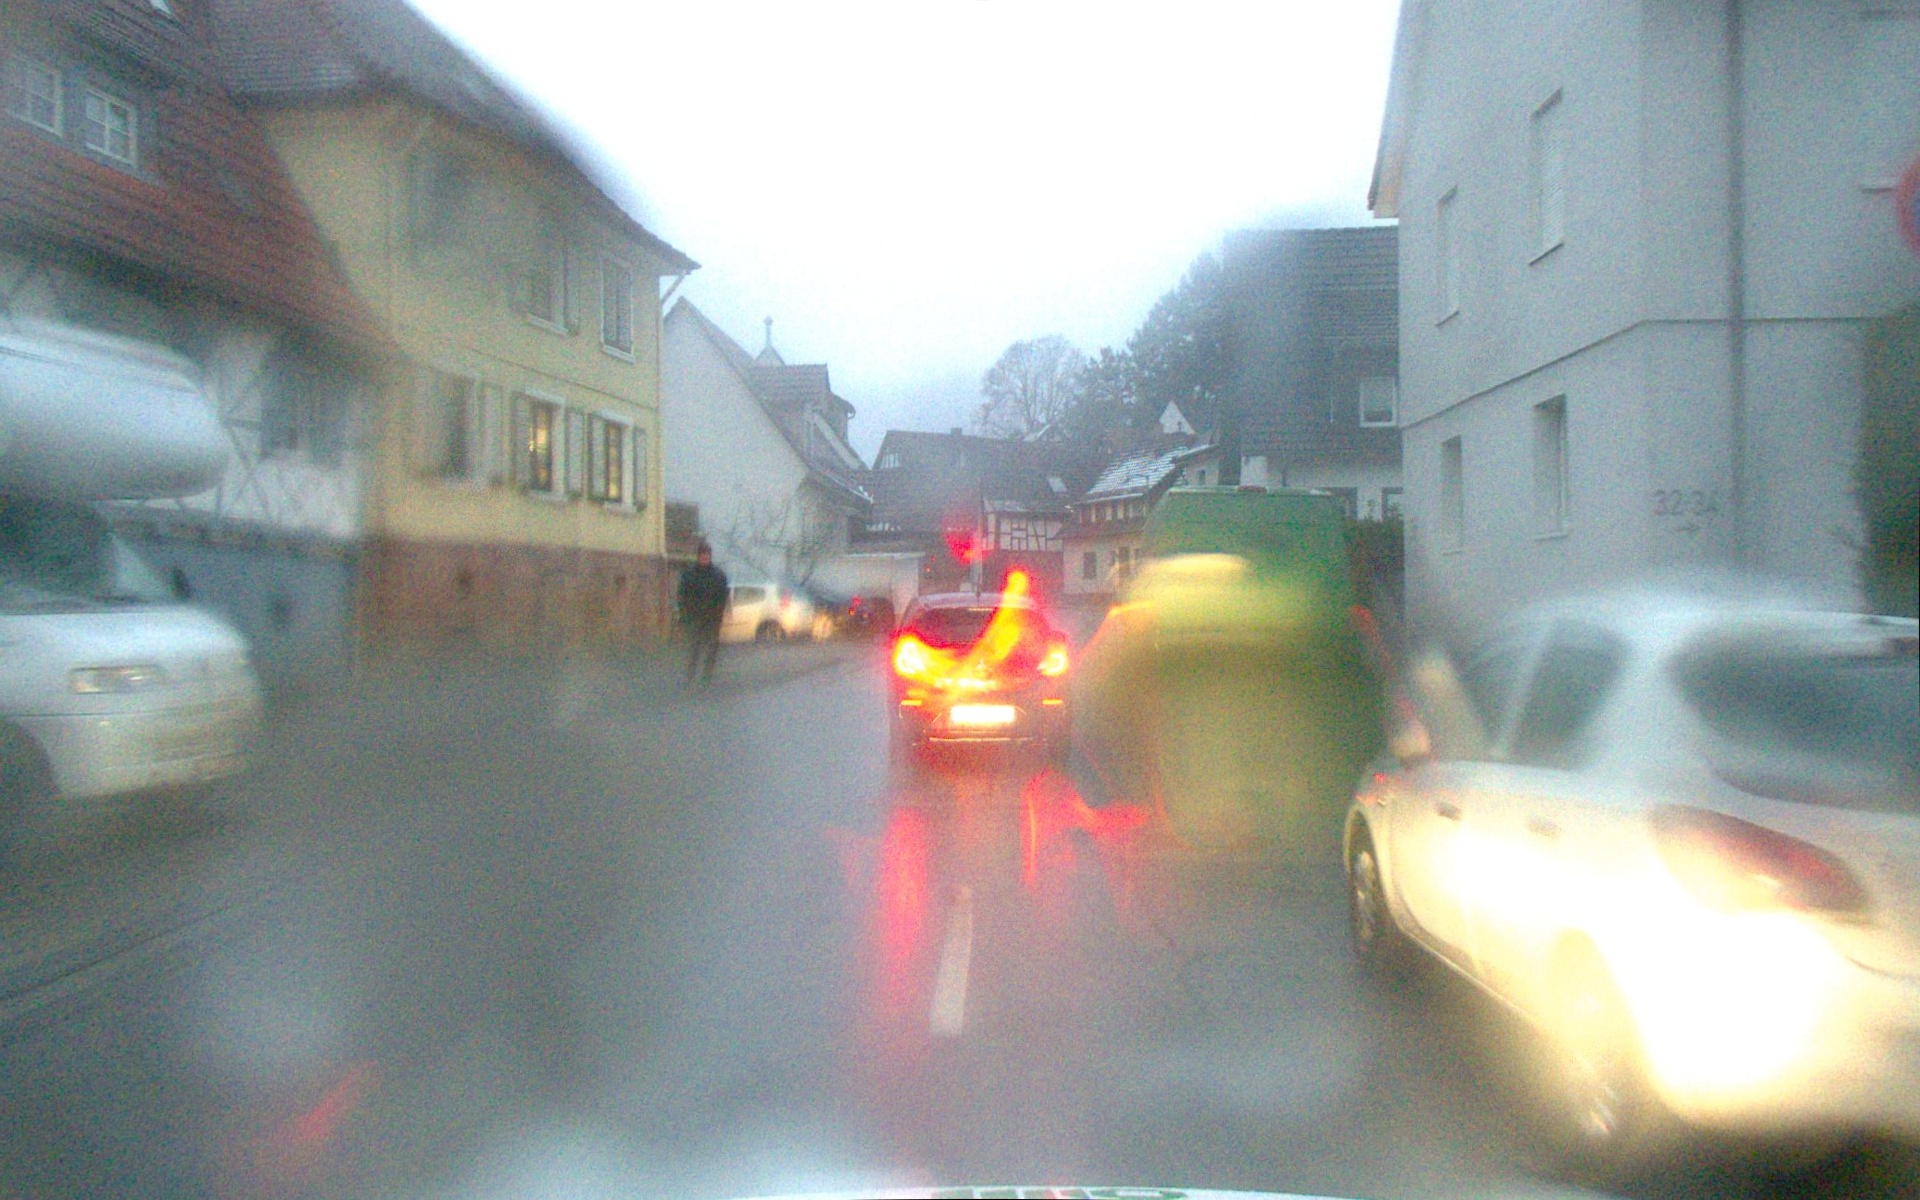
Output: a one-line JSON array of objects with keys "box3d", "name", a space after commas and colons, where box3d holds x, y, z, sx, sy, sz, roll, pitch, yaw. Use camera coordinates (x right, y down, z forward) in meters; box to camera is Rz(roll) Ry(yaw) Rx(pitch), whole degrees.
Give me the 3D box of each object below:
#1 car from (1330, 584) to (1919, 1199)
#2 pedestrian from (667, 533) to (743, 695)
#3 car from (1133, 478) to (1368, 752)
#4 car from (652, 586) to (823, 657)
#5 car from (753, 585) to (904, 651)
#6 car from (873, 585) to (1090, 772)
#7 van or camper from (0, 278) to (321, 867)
[{"box3d": [2.516, 0.718, 5.567, 1.689, 1.534, 3.751, 0, 0, 0], "name": "car"}, {"box3d": [-3.287, 0.178, 21.344, 0.856, 2.049, 0.794, 0, 0, -1], "name": "pedestrian"}, {"box3d": [2.812, 0.122, 16.789, 1.776, 2.455, 3.752, 0, 0, 1], "name": "car"}, {"box3d": [-4.905, 0.465, 36.695, 3.433, 1.533, 1.693, 0, 0, 6], "name": "car"}, {"box3d": [-3.097, 0.406, 39.371, 3.435, 1.533, 1.692, 0, 0, 0], "name": "car"}, {"box3d": [0.167, 0.634, 15.548, 1.758, 1.502, 4.000, 1, 0, 0], "name": "car"}, {"box3d": [-7.338, 0.006, 9.920, 5.933, 3.006, 2.408, -3, 0, 4], "name": "van or camper"}]
